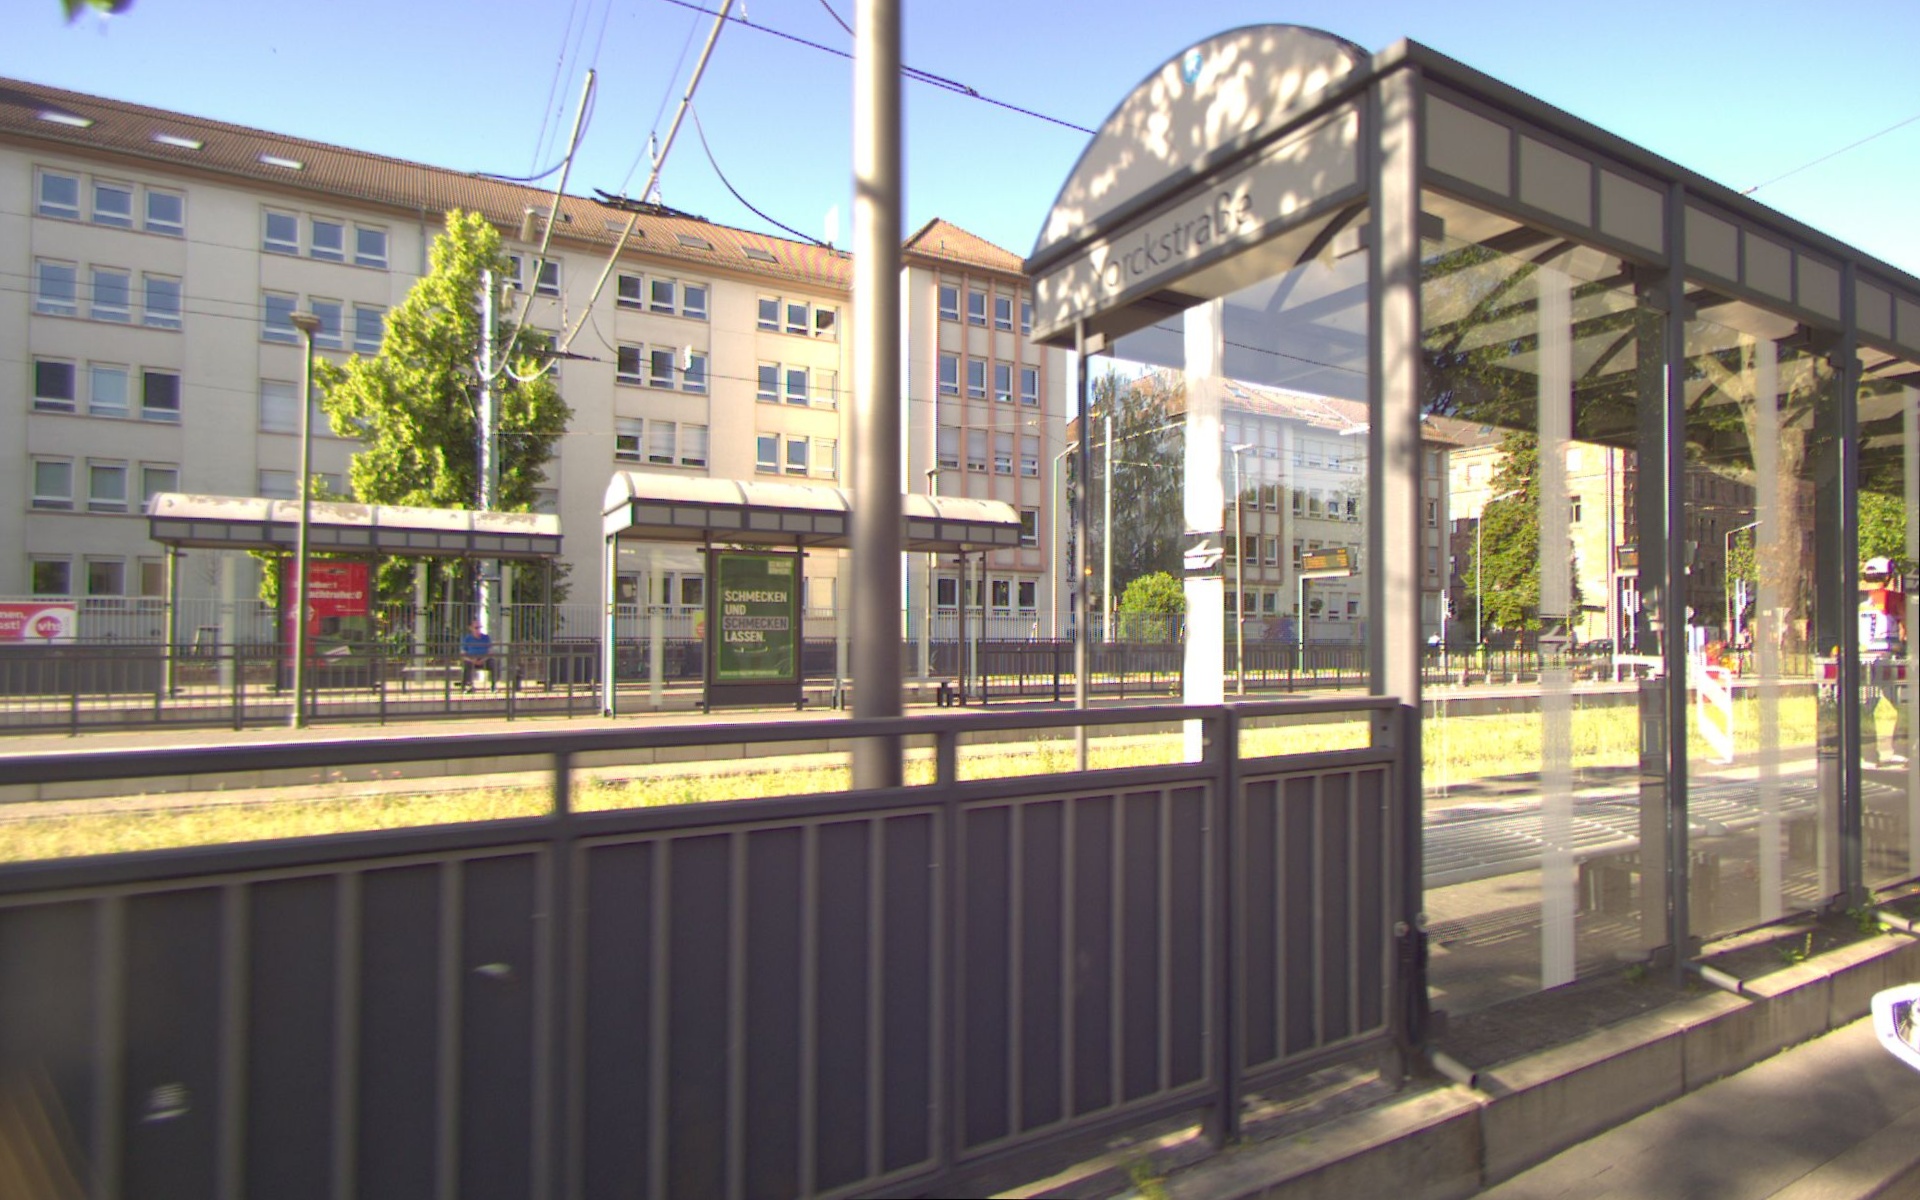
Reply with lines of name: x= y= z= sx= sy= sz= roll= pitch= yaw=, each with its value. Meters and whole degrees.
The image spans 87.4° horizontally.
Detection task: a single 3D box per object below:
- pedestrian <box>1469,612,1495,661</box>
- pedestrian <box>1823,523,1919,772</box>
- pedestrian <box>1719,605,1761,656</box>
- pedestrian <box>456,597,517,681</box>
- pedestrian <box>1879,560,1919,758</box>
pedestrian: x=22.320 y=1.556 z=42.955 sx=0.850 sy=2.040 sz=0.659 roll=1 pitch=-1 yaw=-30
pedestrian: x=8.012 y=0.398 z=8.658 sx=0.707 sy=2.040 sz=0.665 roll=1 pitch=-1 yaw=-28
pedestrian: x=27.623 y=1.072 z=35.595 sx=0.720 sy=1.759 sz=0.950 roll=1 pitch=-1 yaw=-27
pedestrian: x=-8.176 y=0.663 z=17.341 sx=0.869 sy=1.394 sz=0.970 roll=1 pitch=-1 yaw=-30
pedestrian: x=9.154 y=0.546 z=9.358 sx=0.745 sy=1.807 sz=0.679 roll=1 pitch=-1 yaw=-28
